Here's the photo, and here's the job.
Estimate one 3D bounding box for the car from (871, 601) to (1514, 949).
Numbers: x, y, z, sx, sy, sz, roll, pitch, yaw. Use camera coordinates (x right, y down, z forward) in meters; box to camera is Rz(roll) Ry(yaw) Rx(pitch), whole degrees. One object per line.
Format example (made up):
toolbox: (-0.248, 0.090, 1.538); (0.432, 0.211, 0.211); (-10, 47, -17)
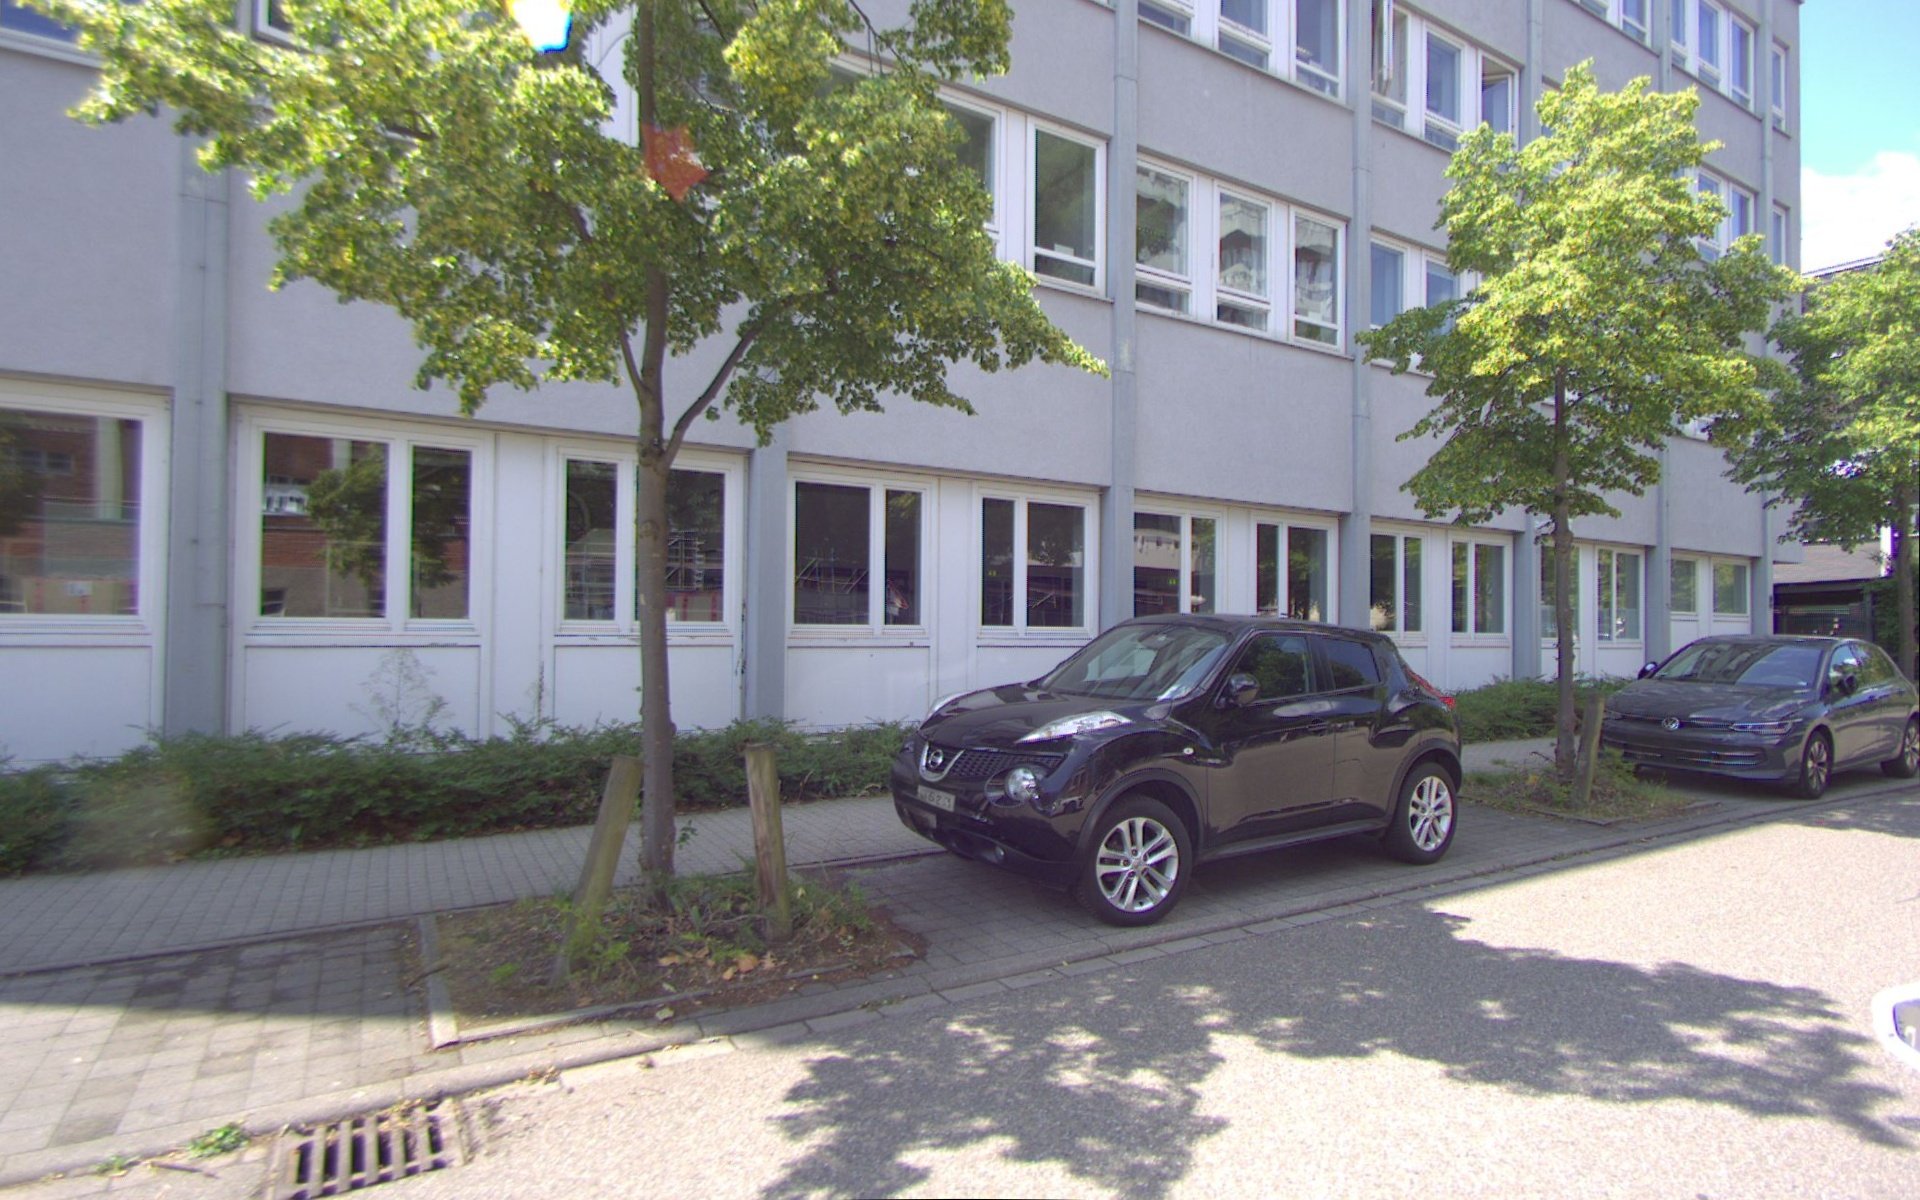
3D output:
car: (1.604, 0.858, 6.397); (4.024, 1.584, 1.687); (1, -2, -33)

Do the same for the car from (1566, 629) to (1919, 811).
car: (8.217, 1.072, 10.306); (4.213, 1.480, 1.768); (1, -1, -33)
